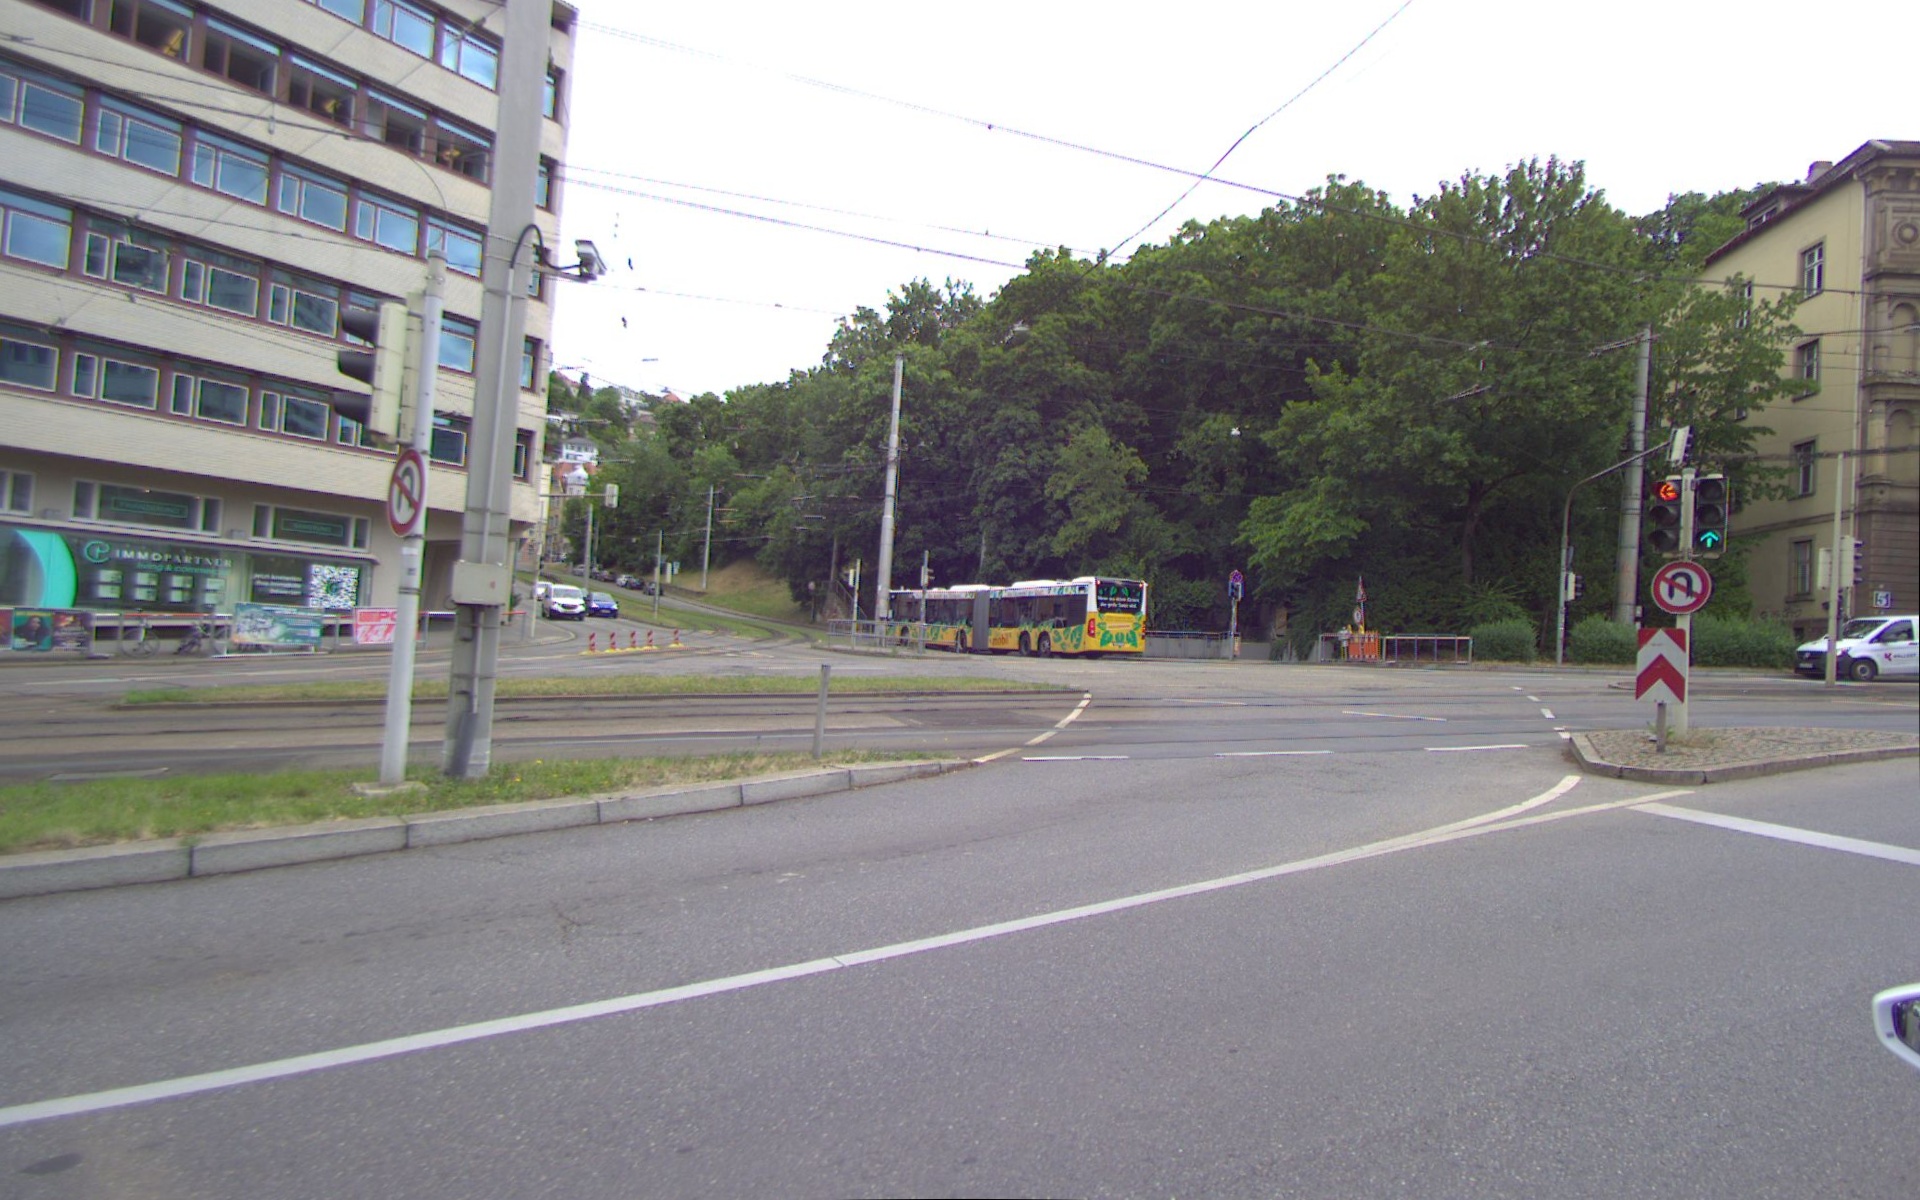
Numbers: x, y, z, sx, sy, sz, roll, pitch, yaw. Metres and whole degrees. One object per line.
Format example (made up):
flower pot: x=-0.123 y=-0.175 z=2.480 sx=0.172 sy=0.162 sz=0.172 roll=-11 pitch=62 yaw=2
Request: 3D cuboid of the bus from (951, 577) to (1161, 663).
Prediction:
bus: x=3.543 y=0.810 z=41.954 sx=3.345 sy=3.069 sz=11.475 roll=1 pitch=-1 yaw=-25

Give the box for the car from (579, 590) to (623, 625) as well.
car: x=-22.180 y=0.449 z=61.949 sx=1.975 sy=2.040 sz=3.971 roll=1 pitch=-1 yaw=-28

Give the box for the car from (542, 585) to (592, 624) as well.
car: x=-21.580 y=0.237 z=55.045 sx=1.977 sy=2.040 sz=3.967 roll=1 pitch=-1 yaw=-30

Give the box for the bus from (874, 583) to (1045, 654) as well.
bus: x=-0.353 y=0.895 z=49.475 sx=3.285 sy=3.084 sz=11.272 roll=1 pitch=-1 yaw=-30

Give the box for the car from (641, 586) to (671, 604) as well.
car: x=-33.183 y=-0.494 z=109.522 sx=2.398 sy=1.862 sz=3.971 roll=1 pitch=-1 yaw=-28

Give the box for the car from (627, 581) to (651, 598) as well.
car: x=-37.921 y=-1.215 z=118.654 sx=1.975 sy=1.862 sz=3.971 roll=1 pitch=-1 yaw=-28

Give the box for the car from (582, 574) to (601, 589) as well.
car: x=-50.677 y=-2.490 z=138.114 sx=1.975 sy=1.862 sz=3.971 roll=1 pitch=-1 yaw=-28

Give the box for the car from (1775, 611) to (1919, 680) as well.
car: x=26.904 y=1.296 z=29.032 sx=4.892 sy=1.874 sz=2.001 roll=1 pitch=0 yaw=6
